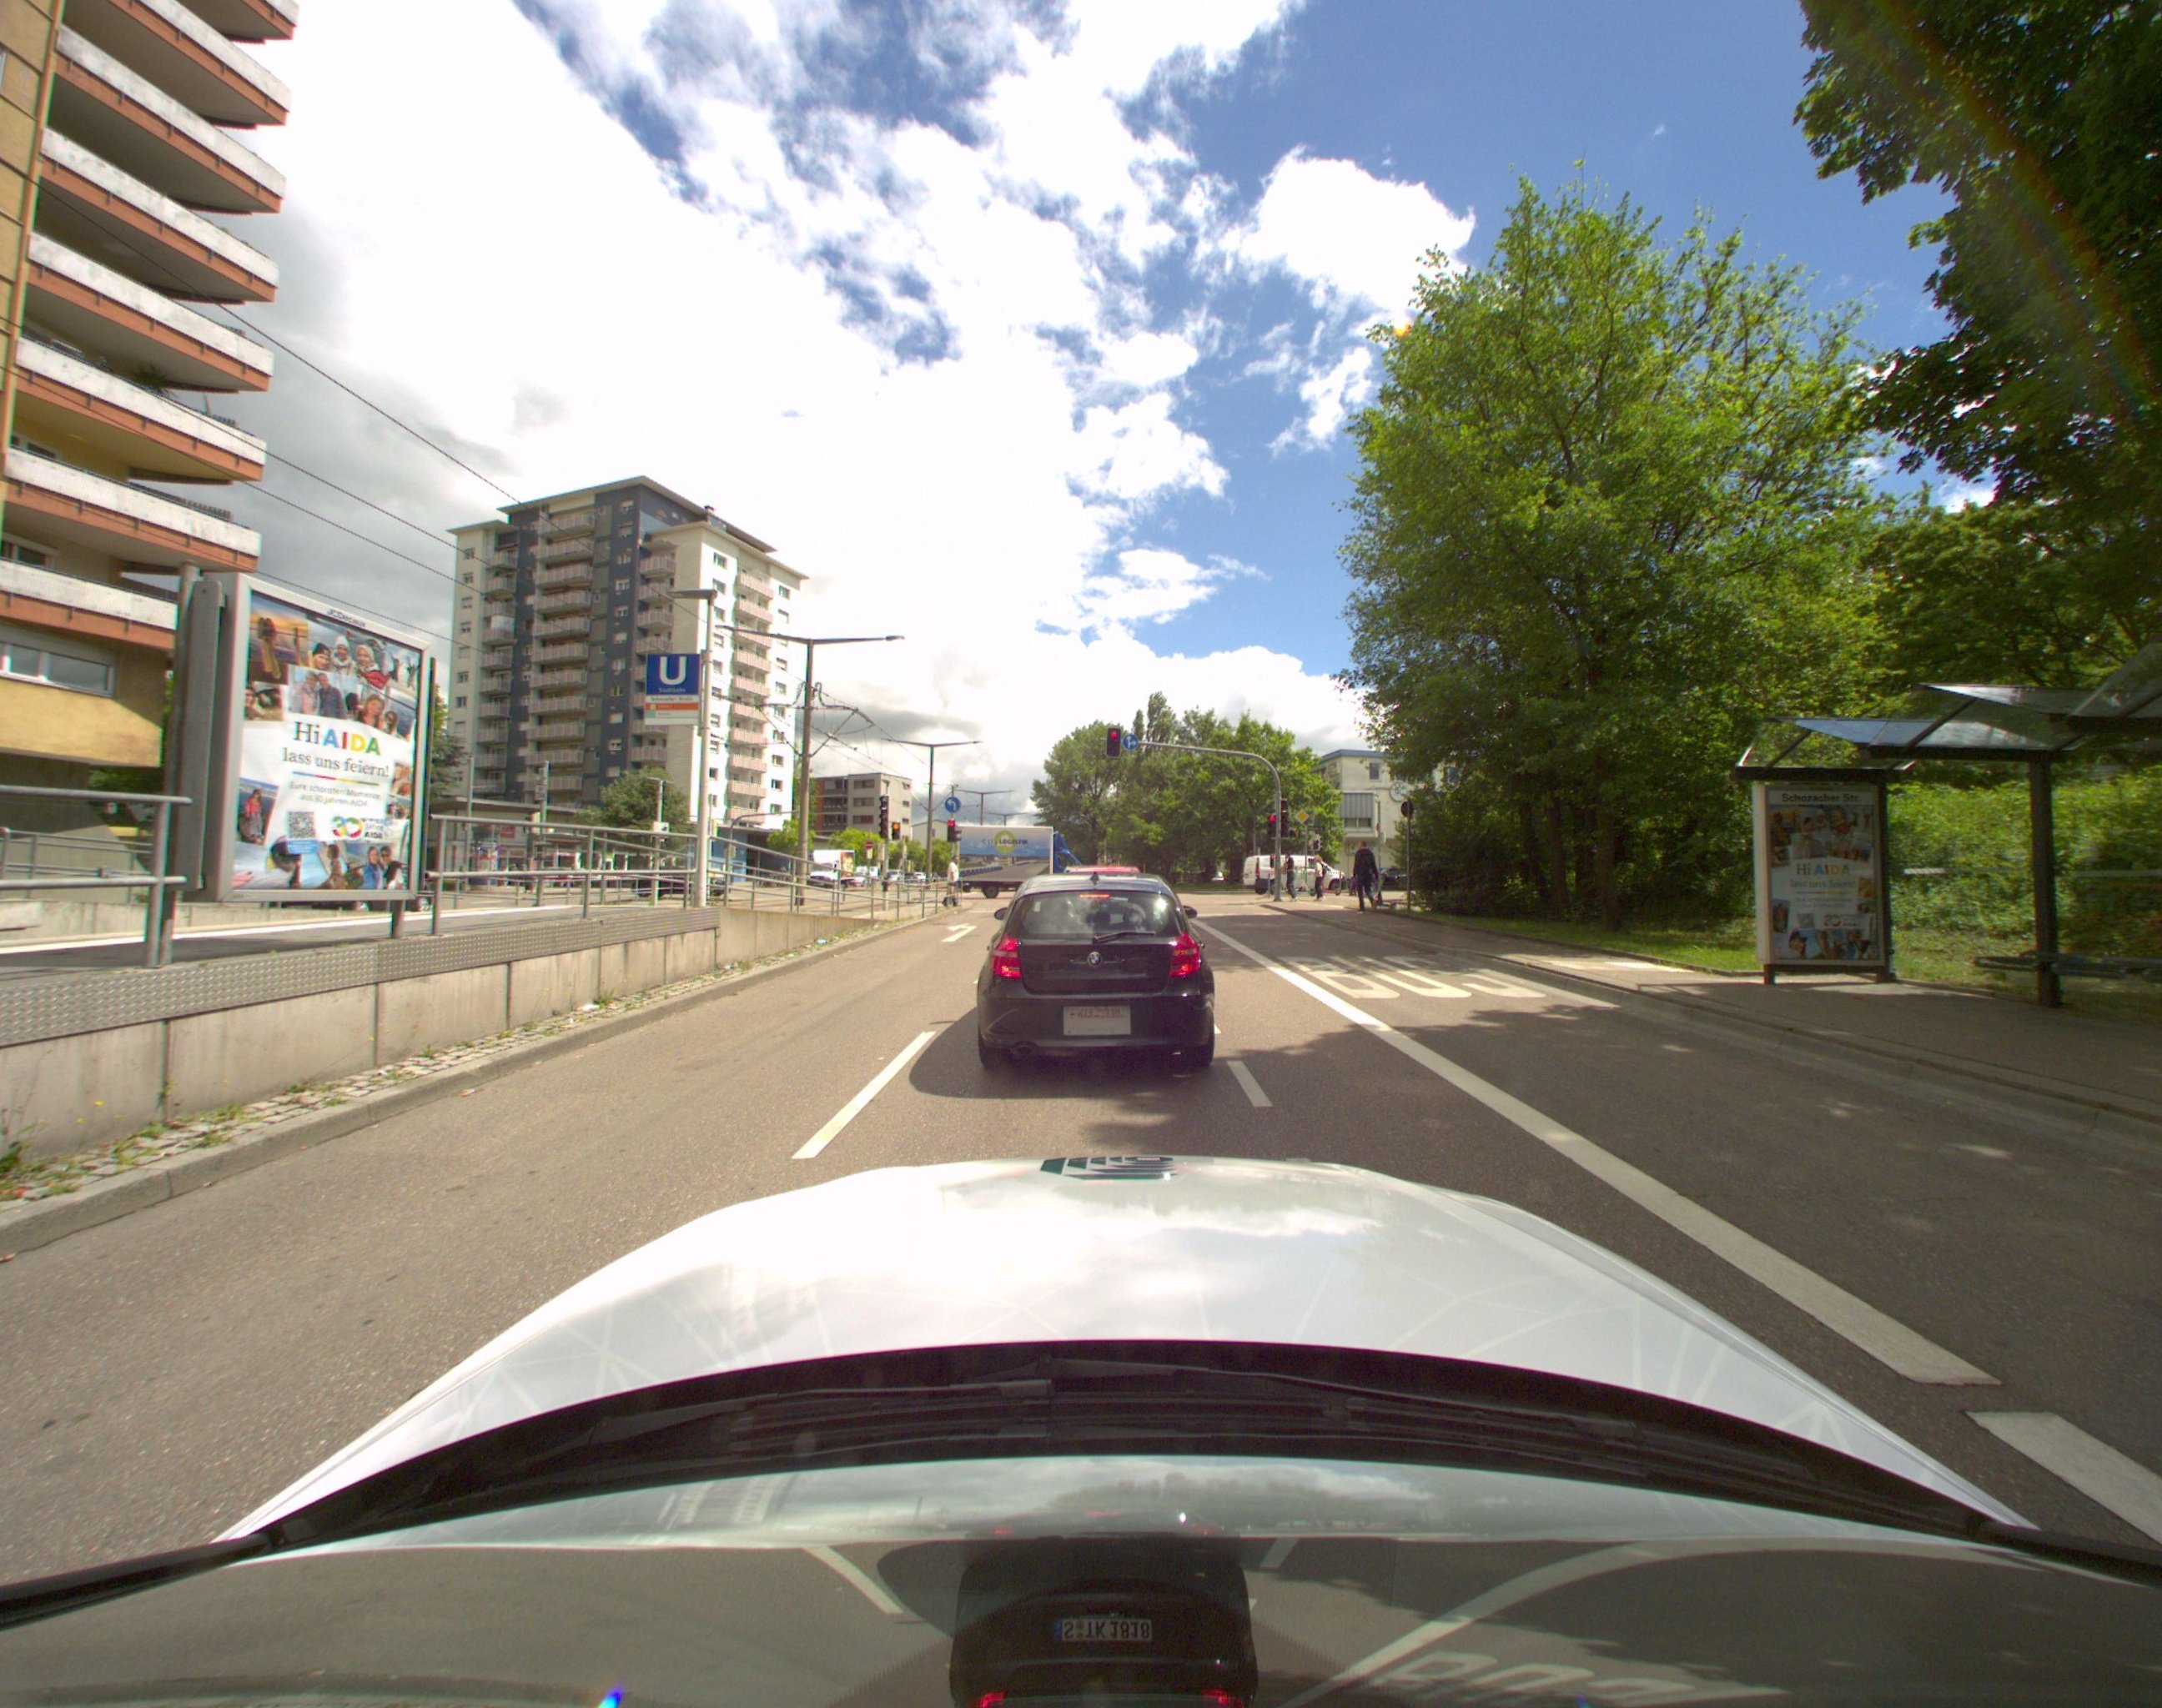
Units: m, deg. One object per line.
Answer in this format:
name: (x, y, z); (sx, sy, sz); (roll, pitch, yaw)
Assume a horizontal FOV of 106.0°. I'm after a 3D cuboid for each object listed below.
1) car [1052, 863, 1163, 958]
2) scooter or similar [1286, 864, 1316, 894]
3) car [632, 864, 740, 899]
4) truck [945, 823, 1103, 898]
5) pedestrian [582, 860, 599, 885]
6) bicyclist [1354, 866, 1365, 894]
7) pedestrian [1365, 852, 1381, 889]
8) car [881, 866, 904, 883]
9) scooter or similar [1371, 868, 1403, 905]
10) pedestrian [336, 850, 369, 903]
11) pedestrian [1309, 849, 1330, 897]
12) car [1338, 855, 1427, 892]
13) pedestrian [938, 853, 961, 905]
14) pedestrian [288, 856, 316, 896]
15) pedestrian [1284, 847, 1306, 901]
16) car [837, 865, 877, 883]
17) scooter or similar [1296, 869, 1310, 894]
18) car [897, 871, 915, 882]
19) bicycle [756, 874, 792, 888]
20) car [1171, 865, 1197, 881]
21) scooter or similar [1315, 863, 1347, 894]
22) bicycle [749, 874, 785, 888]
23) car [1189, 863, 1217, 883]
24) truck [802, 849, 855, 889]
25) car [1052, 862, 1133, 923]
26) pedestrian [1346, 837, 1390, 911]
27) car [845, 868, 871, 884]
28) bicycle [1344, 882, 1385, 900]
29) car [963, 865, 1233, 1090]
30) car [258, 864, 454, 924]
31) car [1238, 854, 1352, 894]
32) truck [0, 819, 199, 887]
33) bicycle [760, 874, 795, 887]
car: (0.448, 0.856, 13.746); (1.632, 1.400, 3.421); (0, -1, 2)
scooter or similar: (8.931, 1.016, 33.093); (1.105, 1.235, 0.540); (0, -1, 4)
car: (-17.585, 1.207, 36.440); (3.987, 1.486, 1.841); (0, -1, -10)
truck: (-2.750, 0.286, 38.661); (7.266, 3.348, 2.600); (0, -1, -9)
pedestrian: (-39.458, 1.470, 65.451); (0.851, 2.014, 0.852); (-1, -1, 29)
bicyclist: (11.742, 1.091, 34.347); (0.395, 1.157, 0.505); (-1, -1, 22)
pedestrian: (13.380, 0.756, 37.322); (0.651, 1.713, 0.464); (-1, -1, 25)
car: (-20.418, 2.220, 88.320); (1.586, 1.756, 3.775); (0, -1, 1)
scooter or similar: (10.683, 1.130, 28.438); (0.886, 1.230, 0.455); (4, -1, 2)
pedestrian: (-24.596, 0.759, 27.504); (0.650, 1.776, 0.667); (-1, -1, 30)
pedestrian: (8.820, 0.709, 30.150); (0.634, 1.766, 0.518); (0, -1, -1)
car: (17.719, 1.133, 47.965); (4.530, 2.014, 1.996); (-1, -1, -6)
pedestrian: (-4.478, 0.844, 27.742); (0.686, 1.734, 0.686); (0, -1, -4)
pedestrian: (-28.568, 0.805, 29.855); (0.494, 1.440, 0.551); (-1, -1, 12)
pedestrian: (7.572, 0.707, 28.790); (0.634, 1.876, 0.518); (0, -1, -1)
car: (-24.689, 2.212, 89.759); (3.944, 1.975, 1.637); (1, -1, -41)
scooter or similar: (9.485, 1.168, 34.805); (0.543, 1.064, 1.267); (0, -1, 16)
car: (-24.140, 3.046, 112.668); (1.586, 1.474, 3.775); (0, -1, 1)
bicycle: (-24.148, 2.131, 63.979); (2.570, 1.009, 0.749); (2, -3, -27)
car: (11.433, 2.084, 90.568); (1.862, 1.662, 3.987); (0, -1, -9)
scooter or similar: (10.415, 1.030, 33.953); (1.145, 1.272, 0.556); (1, -1, 4)
bicycle: (-24.232, 2.104, 62.848); (2.570, 1.009, 0.749); (2, -3, -27)
car: (11.931, 1.814, 79.602); (1.724, 1.871, 3.990); (0, -1, -7)
truck: (-20.554, 1.196, 66.802); (2.275, 3.118, 7.312); (0, -1, -2)
car: (0.337, 0.920, 21.223); (1.893, 1.422, 4.540); (0, -1, 2)
pedestrian: (7.460, 0.512, 21.196); (0.792, 1.876, 1.013); (0, -1, 1)
car: (-20.739, 2.031, 75.752); (1.402, 1.461, 3.773); (0, -1, 0)
bicycle: (11.918, 1.545, 34.260); (1.571, 0.610, 0.537); (-6, -2, 22)
car: (0.157, 0.800, 6.846); (1.694, 1.400, 3.421); (0, -1, 2)
car: (-18.761, 0.972, 21.328); (1.573, 1.405, 3.866); (-1, -1, 2)
car: (10.563, 0.968, 40.356); (5.171, 1.893, 1.993); (0, -1, -11)
truck: (-34.571, -0.022, 28.762); (4.262, 2.290, 2.352); (0, -1, 2)
bicycle: (-24.271, 2.141, 65.084); (2.570, 1.009, 0.749); (2, -3, -27)
